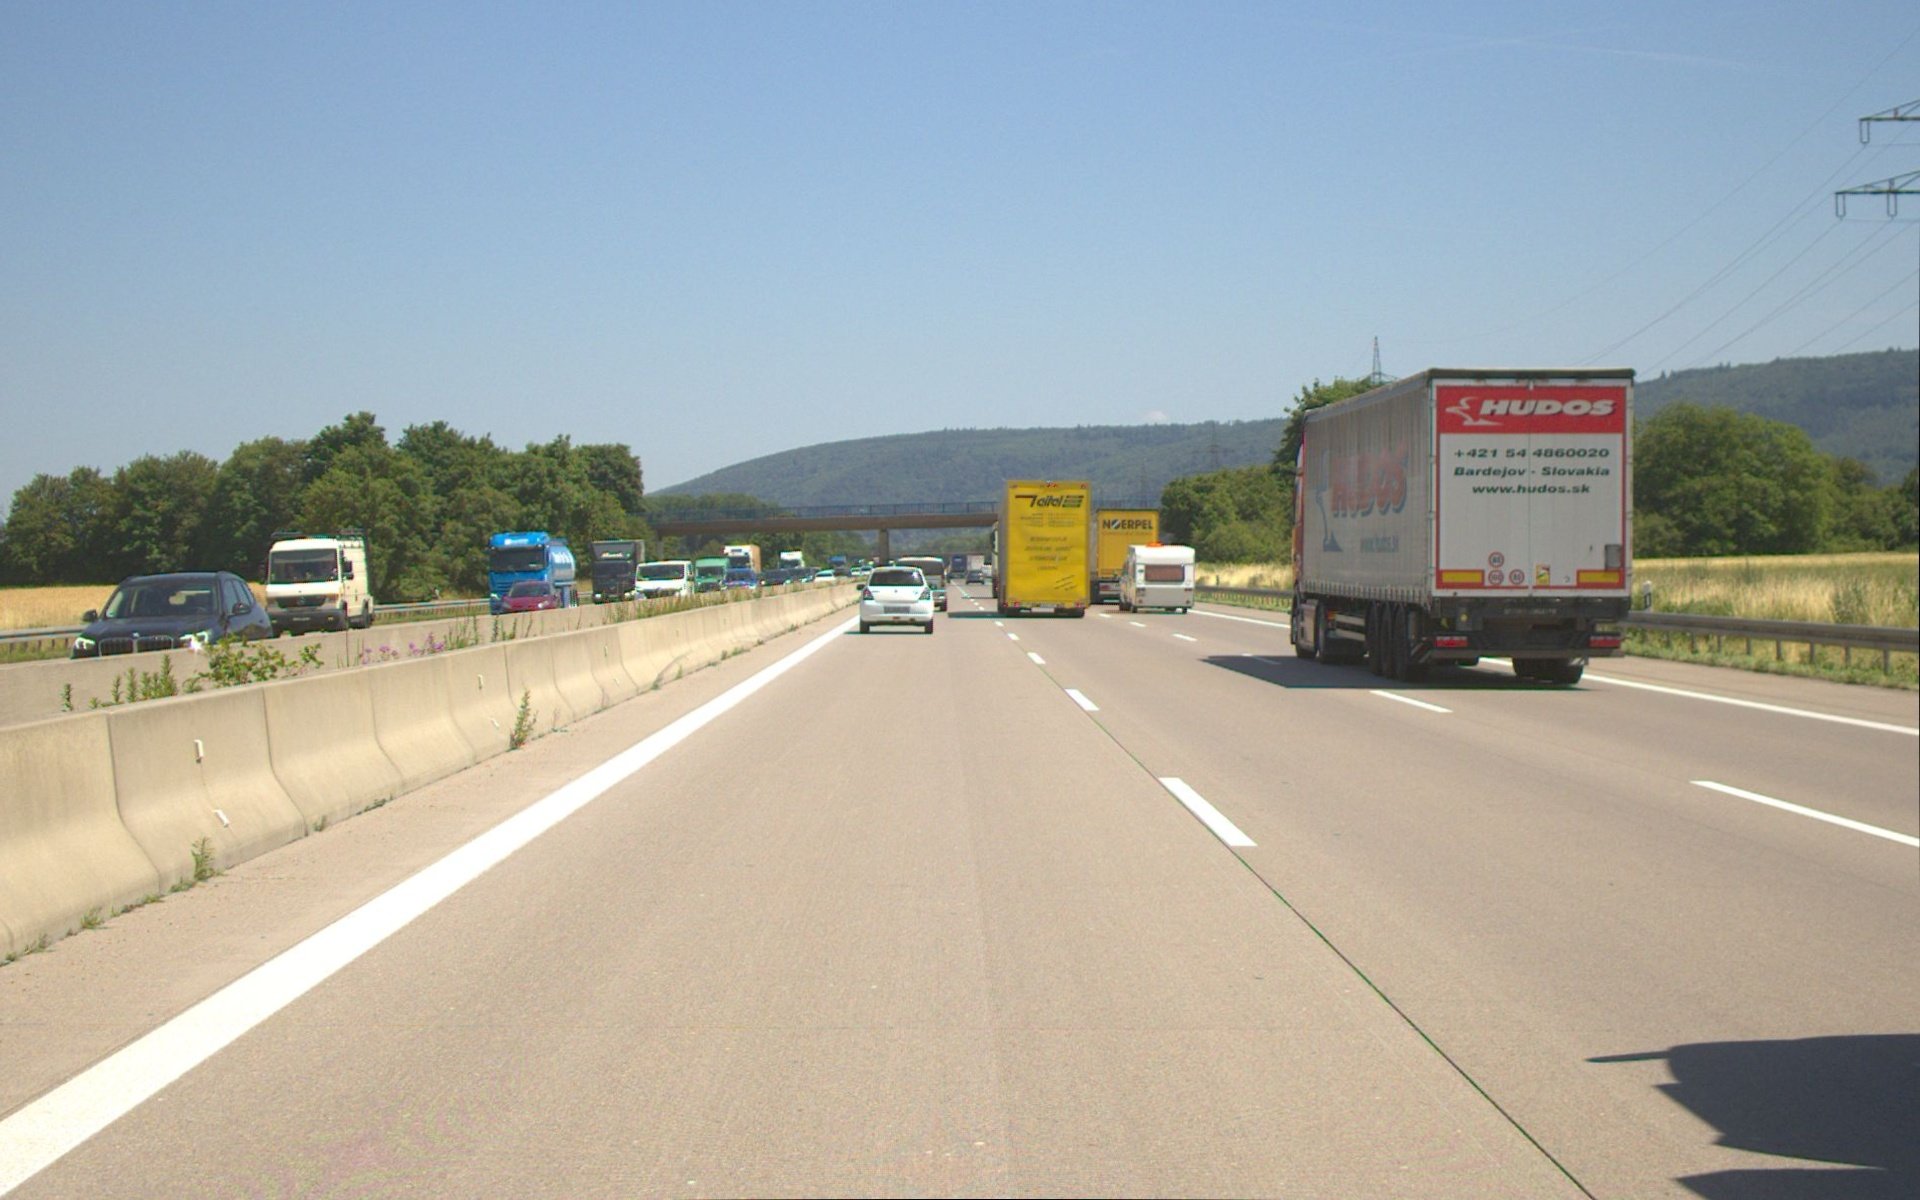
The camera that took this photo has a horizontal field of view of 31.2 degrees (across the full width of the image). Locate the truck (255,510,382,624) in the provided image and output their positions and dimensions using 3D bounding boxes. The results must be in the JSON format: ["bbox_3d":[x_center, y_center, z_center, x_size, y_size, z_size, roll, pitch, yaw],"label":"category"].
[{"bbox_3d":[-18.111,-0.944,97.461,2.322,3.073,6.978,1,1,-1],"label":"truck"}]

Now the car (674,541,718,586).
[{"bbox_3d":[-15.447,-2.127,201.301,2.149,2.542,6.464,-1,1,-1],"label":"car"}]

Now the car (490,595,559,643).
[{"bbox_3d":[-14.117,0.594,111.624,1.688,1.454,4.487,0,1,-1],"label":"car"}]

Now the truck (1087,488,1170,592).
[{"bbox_3d":[7.198,-2.572,148.145,2.999,4.299,9.684,1,1,0],"label":"truck"}]

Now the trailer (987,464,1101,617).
[{"bbox_3d":[2.574,-1.878,109.715,3.216,4.548,13.457,1,1,0],"label":"trailer"}]

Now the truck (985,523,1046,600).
[{"bbox_3d":[2.785,-1.963,174.213,2.820,3.748,6.284,1,1,-1],"label":"truck"}]

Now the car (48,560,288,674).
[{"bbox_3d":[-9.919,0.194,43.430,1.898,1.322,5.069,1,0,-1],"label":"car"}]

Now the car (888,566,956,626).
[{"bbox_3d":[-1.299,-0.165,120.433,2.254,2.007,4.297,1,1,1],"label":"car"}]

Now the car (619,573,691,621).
[{"bbox_3d":[-10.893,-0.131,123.120,2.138,1.673,5.645,0,1,-1],"label":"car"}]

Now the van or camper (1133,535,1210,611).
[{"bbox_3d":[7.270,-0.958,118.715,2.224,2.522,5.431,1,1,-1],"label":"van or camper"}]

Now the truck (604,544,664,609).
[{"bbox_3d":[-18.127,-1.332,191.441,2.554,3.500,7.885,-2,1,-1],"label":"truck"}]

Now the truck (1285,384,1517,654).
[{"bbox_3d":[7.045,-1.279,55.781,2.905,4.086,6.272,1,1,0],"label":"truck"}]

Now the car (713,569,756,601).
[{"bbox_3d":[-10.414,-0.691,159.113,1.779,1.344,4.453,2,1,-2],"label":"car"}]

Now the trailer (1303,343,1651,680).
[{"bbox_3d":[7.024,-1.183,48.993,2.874,4.086,13.513,1,1,0],"label":"trailer"}]

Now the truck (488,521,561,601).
[{"bbox_3d":[-18.395,-1.654,145.387,2.484,3.298,5.264,1,1,-1],"label":"truck"}]

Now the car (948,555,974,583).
[{"bbox_3d":[0.072,-2.124,234.391,1.784,1.875,4.000,1,1,0],"label":"car"}]

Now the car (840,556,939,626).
[{"bbox_3d":[-1.596,-0.218,79.205,2.107,1.530,4.122,1,1,1],"label":"car"}]
